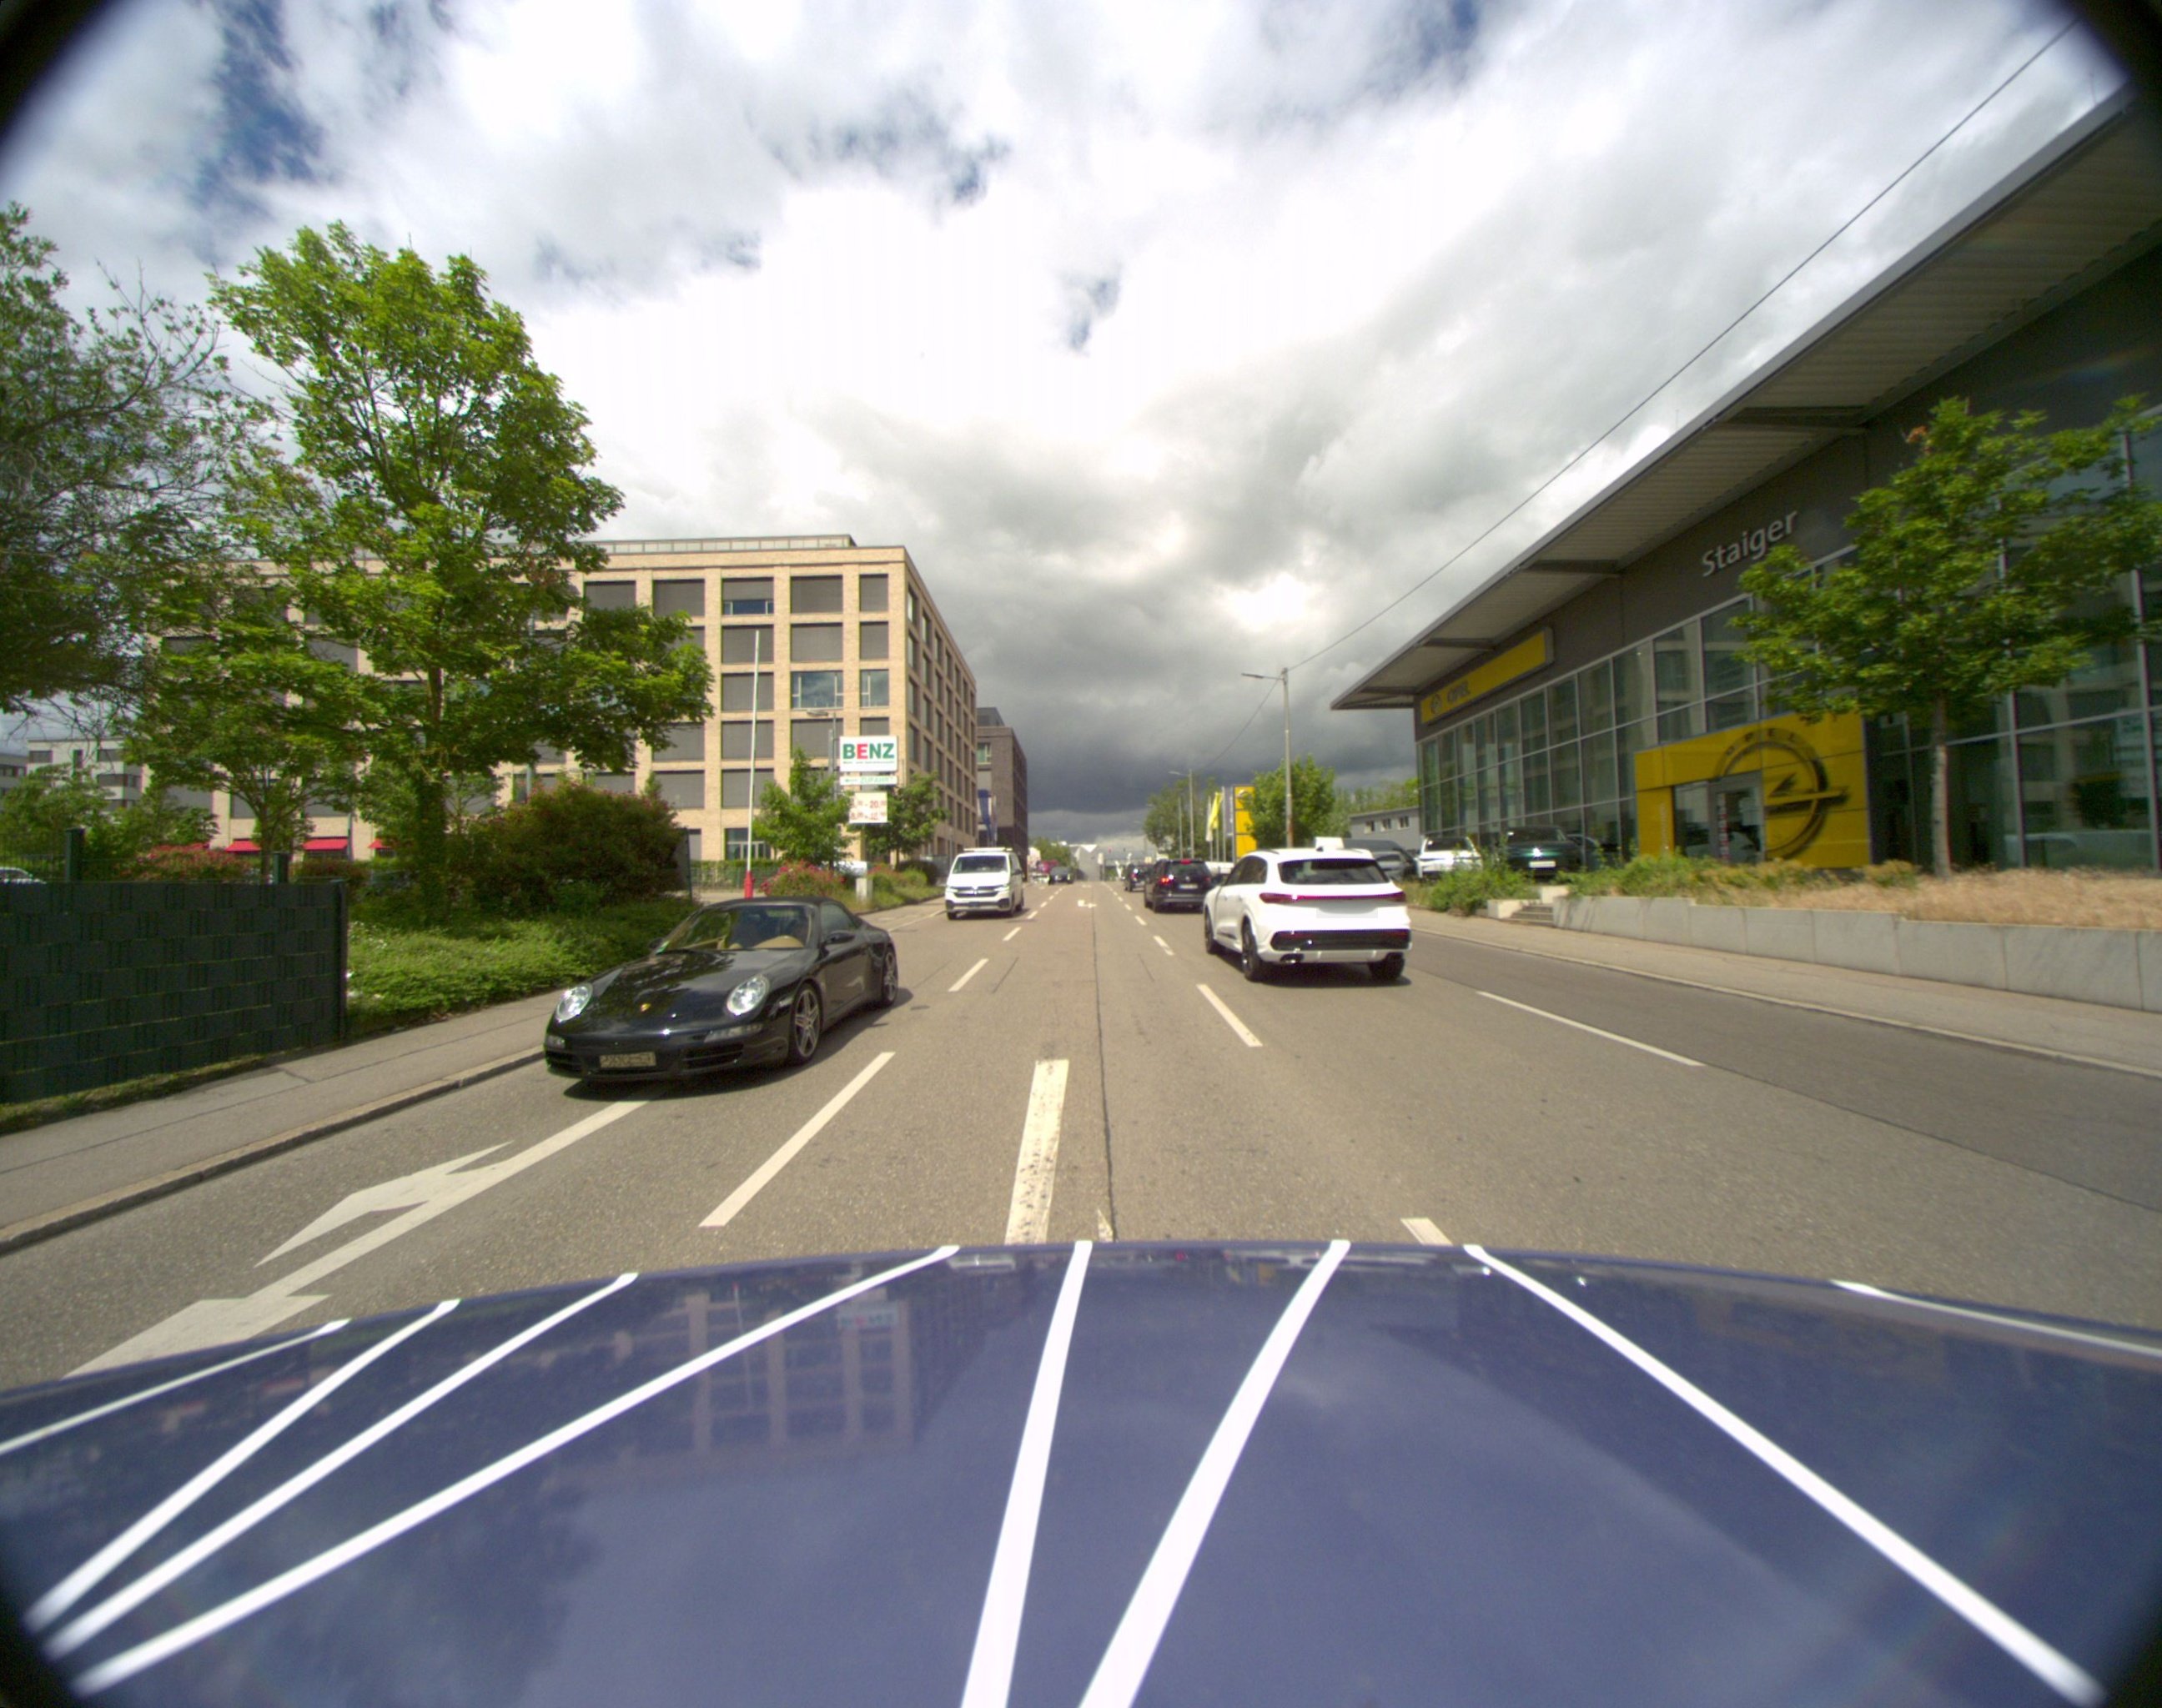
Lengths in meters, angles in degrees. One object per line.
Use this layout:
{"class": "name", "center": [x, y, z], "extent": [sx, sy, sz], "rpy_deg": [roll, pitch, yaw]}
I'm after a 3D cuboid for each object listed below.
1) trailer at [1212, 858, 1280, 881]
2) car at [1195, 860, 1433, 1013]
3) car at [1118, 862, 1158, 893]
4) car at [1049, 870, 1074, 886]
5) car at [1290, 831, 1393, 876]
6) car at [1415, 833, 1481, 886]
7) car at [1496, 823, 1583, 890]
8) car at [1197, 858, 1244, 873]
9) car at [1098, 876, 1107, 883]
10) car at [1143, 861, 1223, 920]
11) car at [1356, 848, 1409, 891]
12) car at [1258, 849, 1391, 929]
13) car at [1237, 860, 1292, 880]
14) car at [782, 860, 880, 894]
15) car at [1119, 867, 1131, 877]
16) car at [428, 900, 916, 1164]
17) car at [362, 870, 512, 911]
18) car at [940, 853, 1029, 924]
{"class": "trailer", "center": [13.007, 1.193, 60.102], "extent": [4.835, 1.742, 2.095], "rpy_deg": [0, 0, -3]}
{"class": "car", "center": [2.856, 0.916, 10.429], "extent": [1.924, 1.604, 4.416], "rpy_deg": [-1, 0, 1]}
{"class": "car", "center": [2.962, 1.208, 40.044], "extent": [1.731, 1.494, 3.438], "rpy_deg": [-1, 0, -1]}
{"class": "car", "center": [-1.583, 1.969, 63.469], "extent": [1.777, 1.267, 4.569], "rpy_deg": [0, 0, 2]}
{"class": "car", "center": [13.417, -0.013, 39.319], "extent": [4.531, 2.181, 2.179], "rpy_deg": [-1, 0, -1]}
{"class": "car", "center": [12.102, 0.164, 25.157], "extent": [1.793, 1.604, 4.116], "rpy_deg": [-1, 0, 25]}
{"class": "car", "center": [12.202, 0.064, 20.443], "extent": [1.817, 1.604, 4.117], "rpy_deg": [-1, 0, 29]}
{"class": "car", "center": [13.861, 1.141, 75.828], "extent": [4.252, 1.473, 2.095], "rpy_deg": [0, 0, -2]}
{"class": "car", "center": [4.716, 5.601, 165.318], "extent": [1.731, 1.494, 3.753], "rpy_deg": [0, 0, -1]}
{"class": "car", "center": [3.036, 1.053, 23.414], "extent": [1.797, 1.604, 4.108], "rpy_deg": [-1, 0, -1]}
{"class": "car", "center": [12.167, 0.581, 30.498], "extent": [1.794, 1.604, 4.116], "rpy_deg": [-1, 0, 24]}
{"class": "car", "center": [6.378, 0.850, 20.615], "extent": [1.924, 1.848, 5.199], "rpy_deg": [1, 0, 0]}
{"class": "car", "center": [13.565, 1.197, 56.213], "extent": [3.669, 1.401, 1.815], "rpy_deg": [0, 0, 2]}
{"class": "car", "center": [-12.147, 1.098, 37.061], "extent": [4.220, 1.567, 1.735], "rpy_deg": [0, 0, -4]}
{"class": "car", "center": [7.611, 3.102, 131.113], "extent": [1.731, 1.494, 3.753], "rpy_deg": [0, 0, -1]}
{"class": "car", "center": [-2.957, 1.213, 6.845], "extent": [1.777, 1.267, 4.569], "rpy_deg": [-3, 0, 2]}
{"class": "car", "center": [-23.222, 1.299, 27.496], "extent": [3.997, 1.401, 1.600], "rpy_deg": [0, 0, -1]}
{"class": "car", "center": [-2.768, 0.957, 22.863], "extent": [1.964, 1.840, 4.645], "rpy_deg": [-3, 0, 1]}
